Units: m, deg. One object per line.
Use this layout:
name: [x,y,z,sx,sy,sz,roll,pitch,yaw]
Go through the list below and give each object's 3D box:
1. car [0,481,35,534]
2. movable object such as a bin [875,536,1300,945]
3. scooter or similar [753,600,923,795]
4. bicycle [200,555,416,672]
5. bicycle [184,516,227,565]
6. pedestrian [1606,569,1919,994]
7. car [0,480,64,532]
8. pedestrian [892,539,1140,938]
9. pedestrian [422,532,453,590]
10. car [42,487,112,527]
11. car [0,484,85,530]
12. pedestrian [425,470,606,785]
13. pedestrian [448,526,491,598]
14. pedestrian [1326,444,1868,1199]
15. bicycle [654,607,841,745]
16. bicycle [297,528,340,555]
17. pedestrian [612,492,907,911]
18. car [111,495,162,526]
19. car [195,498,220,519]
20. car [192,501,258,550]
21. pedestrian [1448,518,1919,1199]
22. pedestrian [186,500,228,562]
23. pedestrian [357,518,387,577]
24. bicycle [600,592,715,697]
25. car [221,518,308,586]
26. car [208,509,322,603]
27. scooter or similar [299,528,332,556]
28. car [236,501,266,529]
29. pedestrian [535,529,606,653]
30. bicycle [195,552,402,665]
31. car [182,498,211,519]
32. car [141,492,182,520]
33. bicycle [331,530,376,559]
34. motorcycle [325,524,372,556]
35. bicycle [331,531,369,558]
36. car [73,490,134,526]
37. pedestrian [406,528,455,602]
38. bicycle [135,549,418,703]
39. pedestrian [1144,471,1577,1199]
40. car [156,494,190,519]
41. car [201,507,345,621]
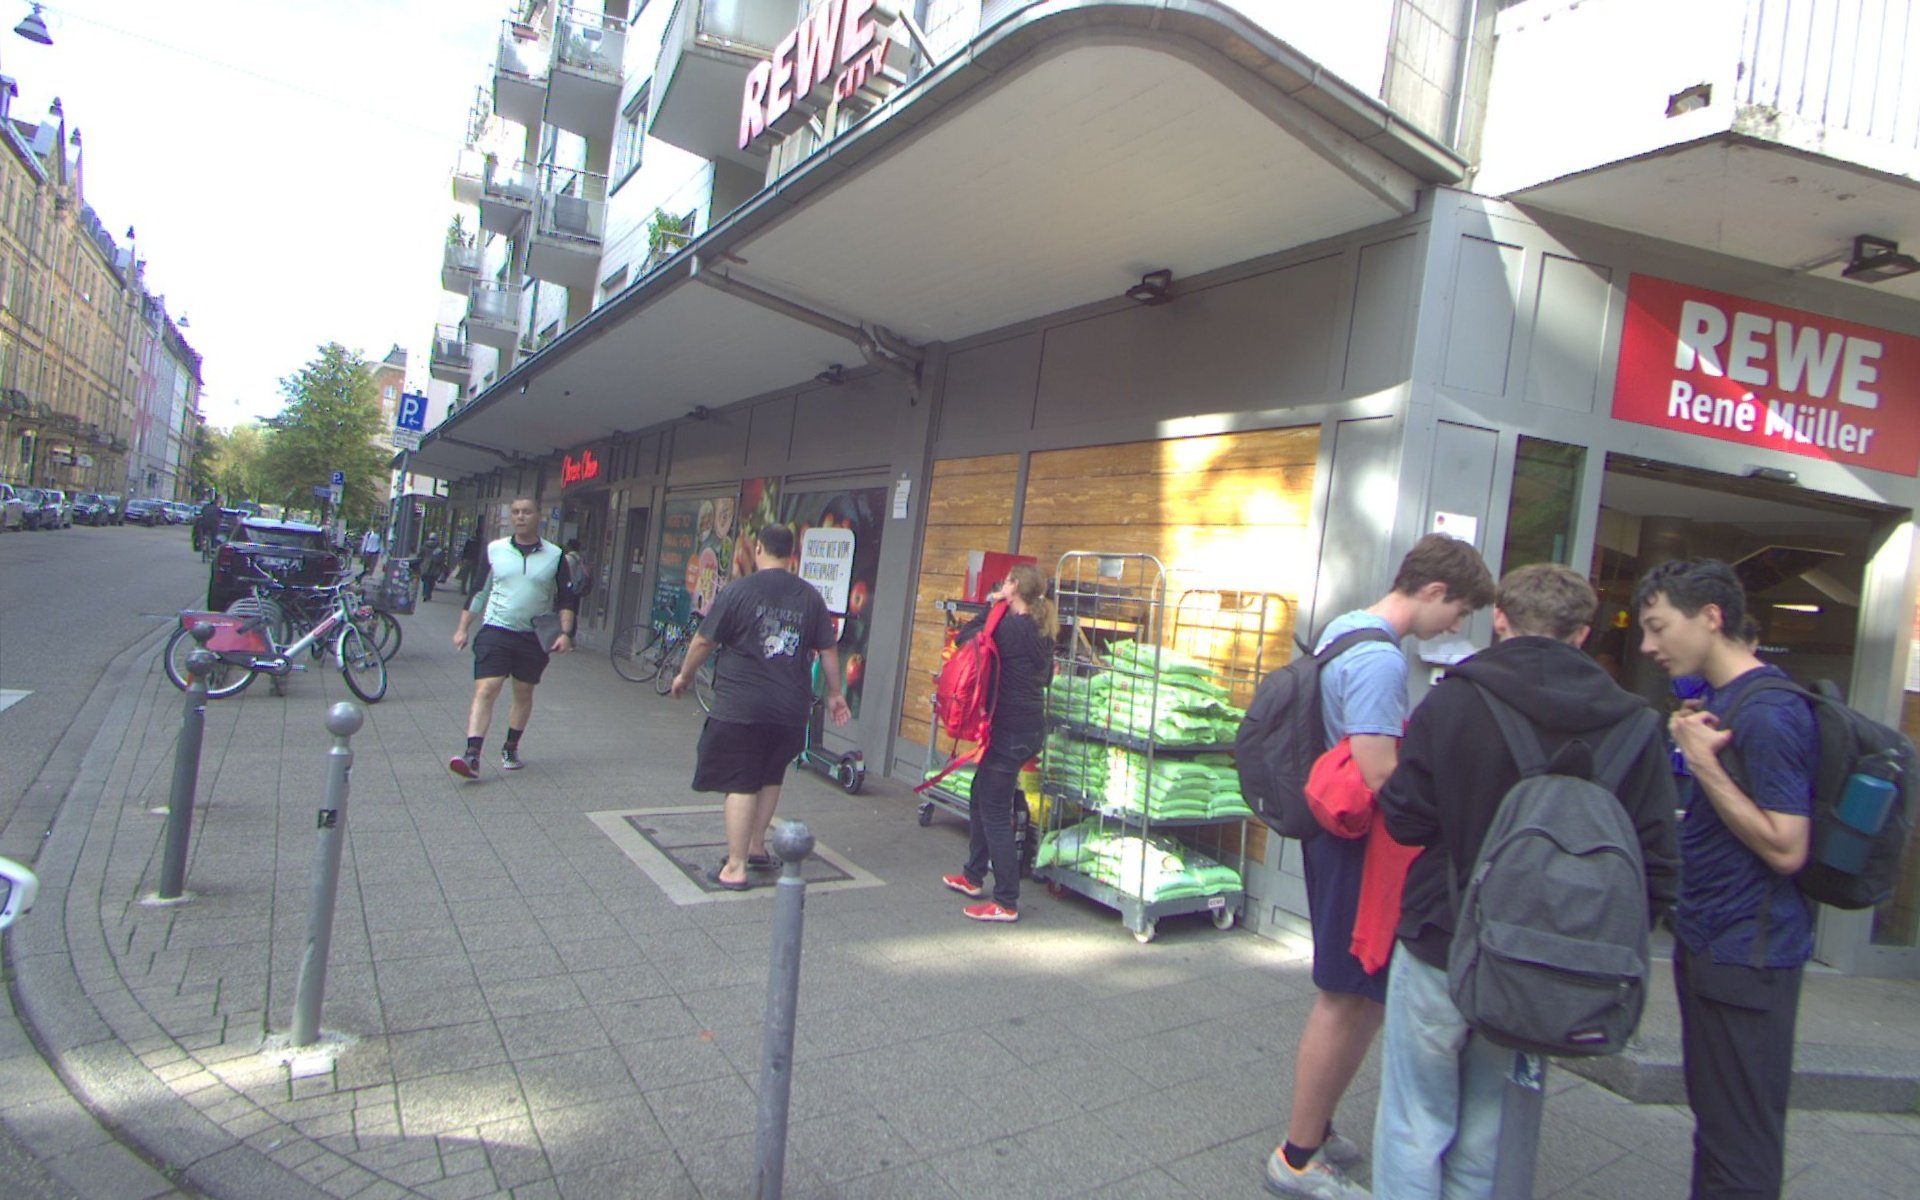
car: [-29.783,-2.921,30.520,1.731,1.501,3.947,9,0,-33]
movable object such as a bin: [0.543,0.597,5.601,0.774,1.766,2.401,7,0,-34]
scooter or similar: [-0.932,0.683,7.454,0.628,1.229,1.243,4,2,-36]
bicycle: [-6.840,0.167,10.621,1.781,1.085,0.562,5,2,-44]
bicycle: [-21.942,-1.741,29.275,0.713,1.289,1.867,9,0,-32]
pedestrian: [3.891,0.805,4.911,0.751,1.775,0.931,8,1,11]
car: [-32.401,-3.262,34.552,1.731,1.501,3.947,9,0,-33]
pedestrian: [0.246,0.588,4.668,0.717,1.654,0.705,4,3,-36]
pedestrian: [-15.205,-1.128,29.291,0.639,1.609,0.774,5,2,-32]
car: [-39.443,-4.145,45.029,1.680,1.403,3.832,9,-1,-33]
car: [-34.904,-3.523,38.352,1.680,1.403,3.832,9,-1,-33]
pedestrian: [-2.904,0.174,6.571,0.875,1.858,1.040,5,2,-26]
pedestrian: [-13.624,-1.050,27.965,0.697,1.883,0.644,7,1,-5]
pedestrian: [1.185,0.659,2.084,0.621,1.822,0.713,7,3,21]
bicycle: [-2.029,0.687,9.488,1.708,1.056,0.676,6,0,37]
bicycle: [-32.833,-3.000,51.526,1.780,1.175,0.496,5,2,-31]
pedestrian: [-0.993,0.419,4.894,0.846,1.770,1.035,3,3,-44]
car: [-48.263,-5.251,59.025,1.682,1.384,3.832,12,-2,-33]
car: [-78.601,-9.518,105.144,1.681,1.842,3.831,9,-1,-34]
car: [-32.401,-3.272,44.462,1.953,1.761,4.005,8,-1,-33]
pedestrian: [1.800,0.749,2.441,0.646,1.822,0.655,4,4,-21]
pedestrian: [-21.965,-2.021,29.367,0.713,1.669,0.922,8,0,-33]
pedestrian: [-18.338,-1.649,31.374,0.607,1.748,1.116,6,2,-33]
bicycle: [-3.590,0.501,11.846,0.736,1.028,1.766,4,2,-34]
car: [-18.247,-1.307,26.529,1.584,1.457,3.995,7,0,-32]
car: [-14.390,-0.947,20.887,1.678,1.597,3.865,7,0,-35]
scooter or similar: [-29.664,-2.649,46.278,1.187,1.163,0.378,6,3,-2]
car: [-59.873,-7.166,84.950,1.772,2.044,3.851,9,-1,-34]
pedestrian: [-5.891,-0.140,15.200,0.709,1.770,0.809,4,3,-36]
bicycle: [-7.242,0.117,11.076,1.781,1.085,0.579,5,2,-44]
car: [-69.566,-8.328,91.703,1.681,1.568,3.831,9,-1,-34]
car: [-55.006,-6.431,69.364,1.680,1.568,3.833,9,-1,-33]
bicycle: [-28.503,-2.607,47.304,1.752,1.177,0.644,5,2,-32]
motorcycle: [-34.981,-3.439,57.584,2.132,1.550,0.681,5,2,-30]
bicycle: [-29.573,-2.684,48.771,1.485,1.161,0.407,5,2,-34]
car: [-42.883,-4.593,50.432,1.680,1.454,3.832,9,0,-33]
pedestrian: [-12.487,-0.828,23.723,0.818,1.608,0.774,7,1,-32]
bicycle: [-5.792,0.238,8.625,1.870,1.140,0.898,5,2,-36]
pedestrian: [0.997,0.630,2.703,0.701,1.822,0.631,5,3,-1]
car: [-61.795,-7.334,79.026,1.681,1.568,3.831,9,-1,-34]
car: [-11.809,-0.673,17.461,1.779,1.626,3.889,5,2,-33]
